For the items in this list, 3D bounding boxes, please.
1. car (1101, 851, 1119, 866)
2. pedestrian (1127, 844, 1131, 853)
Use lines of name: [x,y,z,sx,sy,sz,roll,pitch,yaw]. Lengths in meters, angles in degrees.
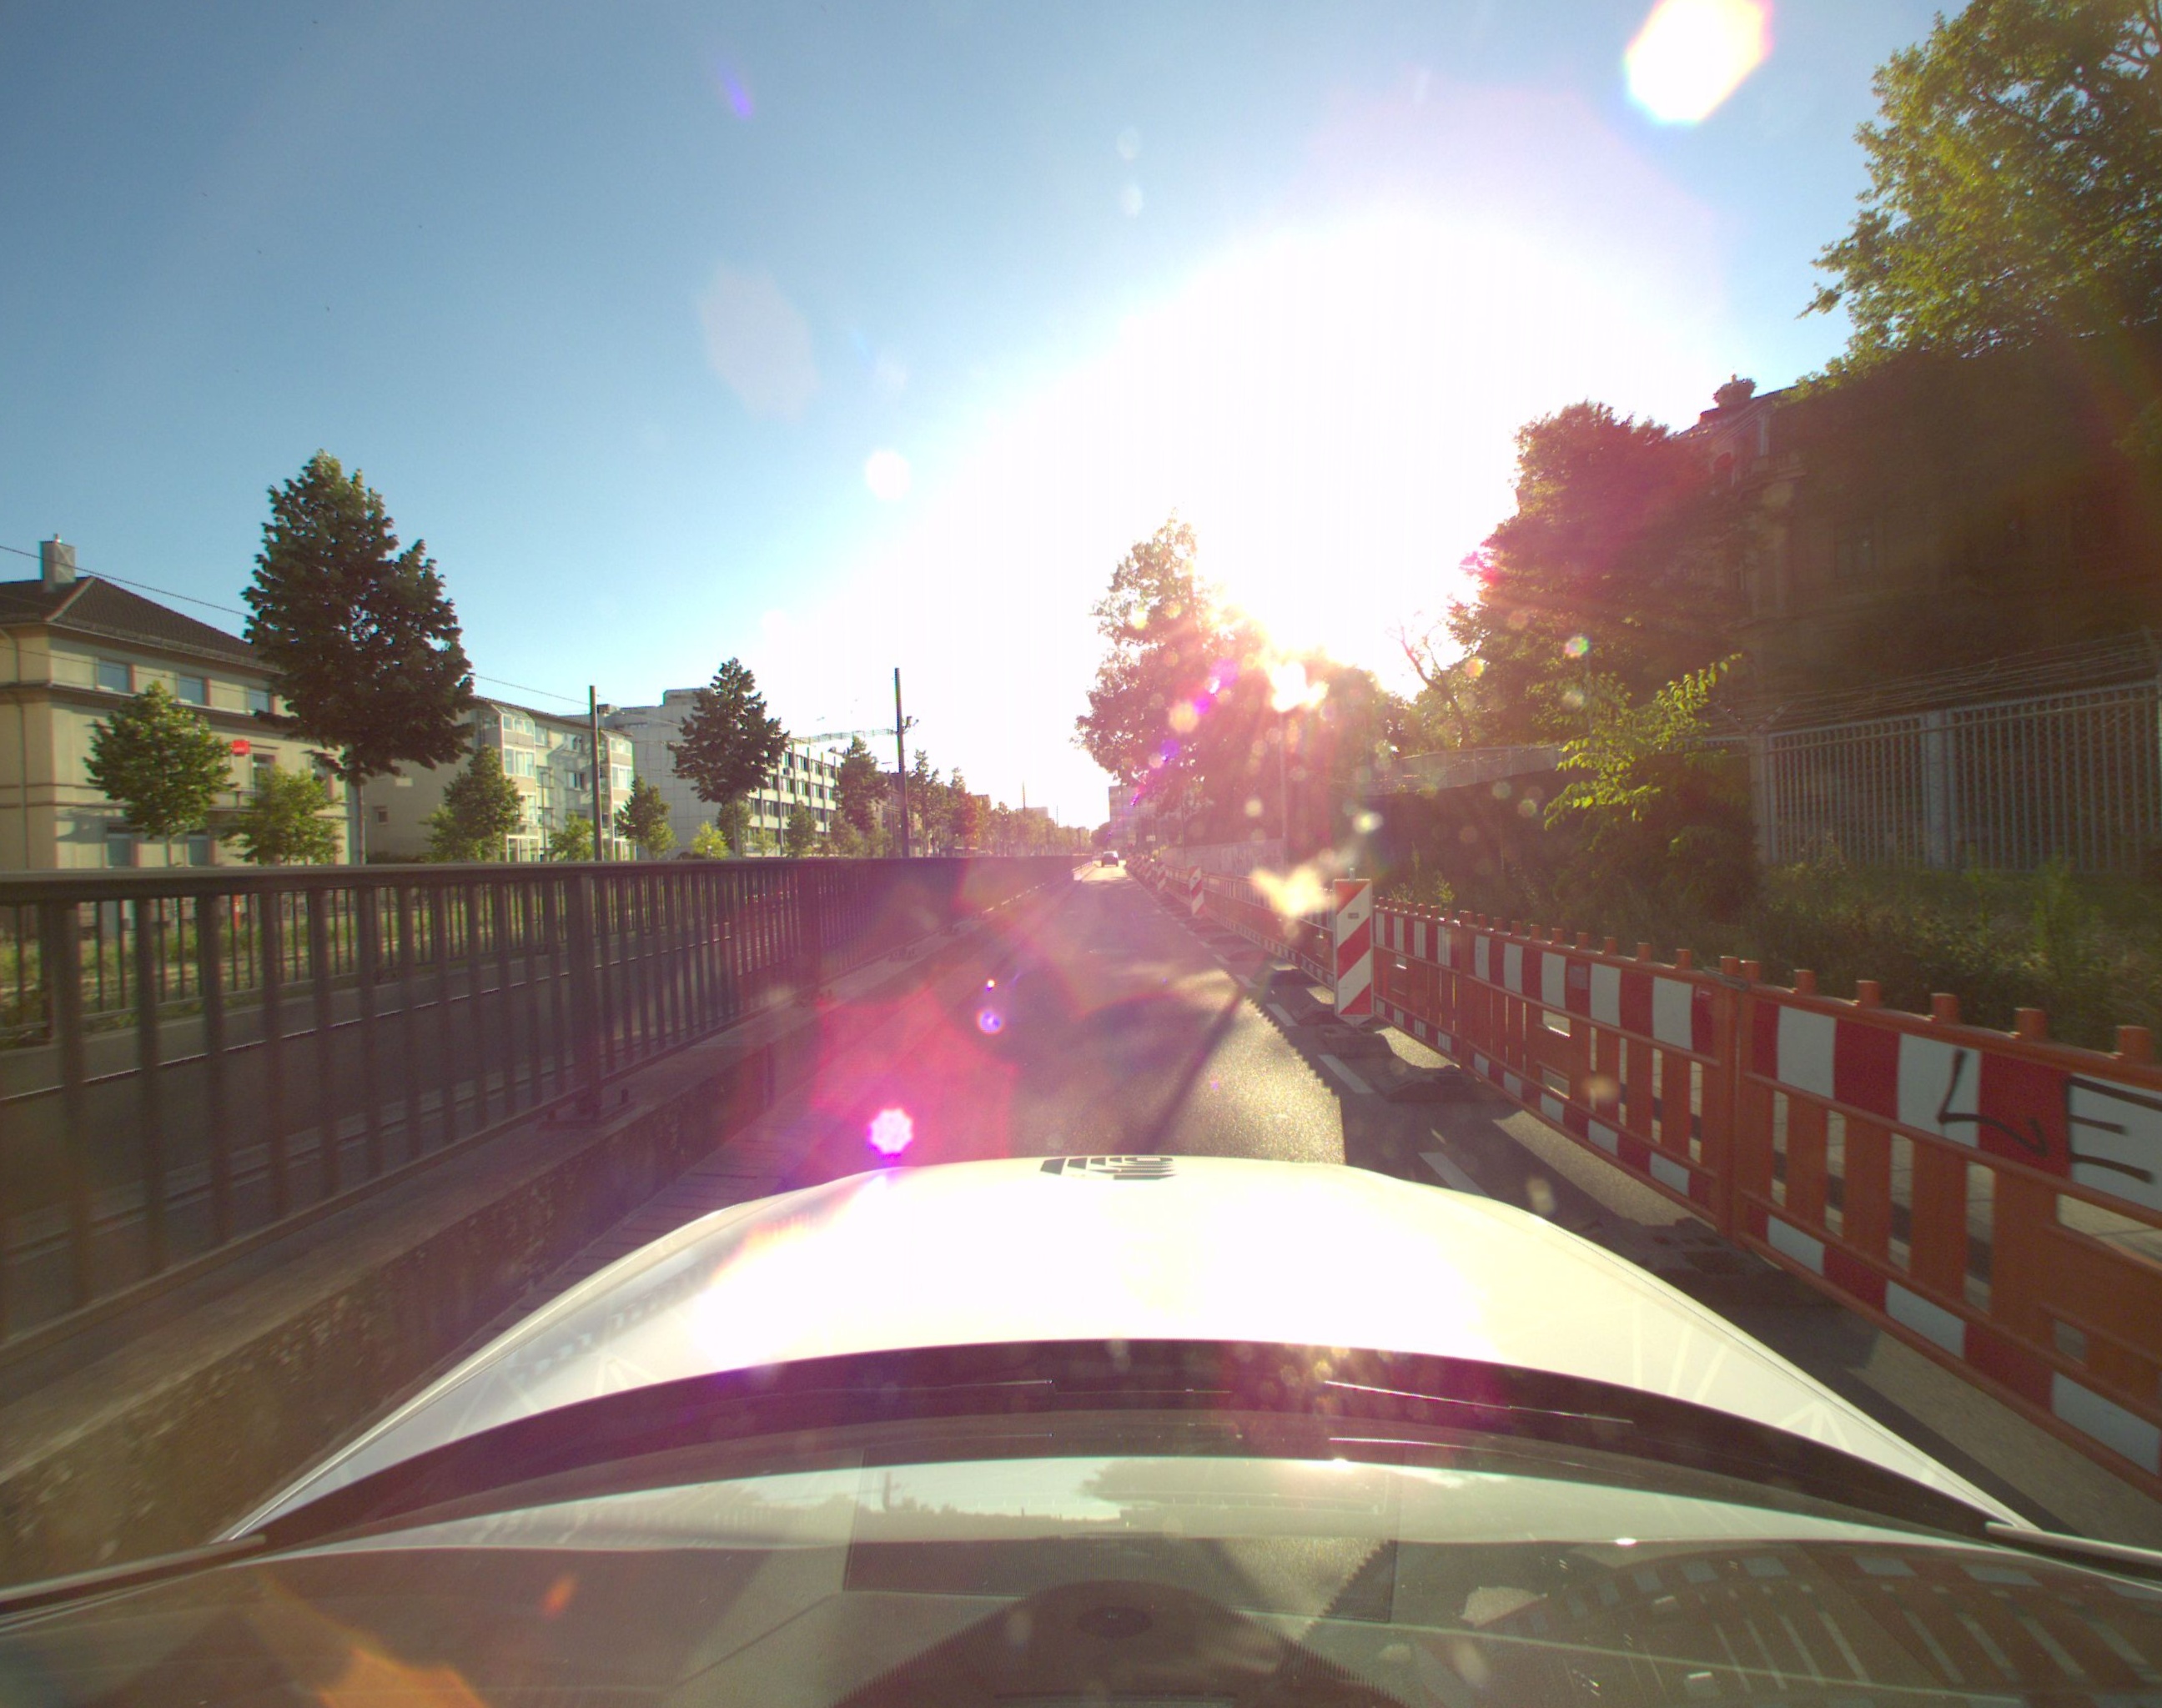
car: [3.330,0.486,94.463,1.997,1.659,4.003,-1,0,3]
pedestrian: [12.011,-1.440,204.759,0.887,2.112,0.719,-2,1,7]
